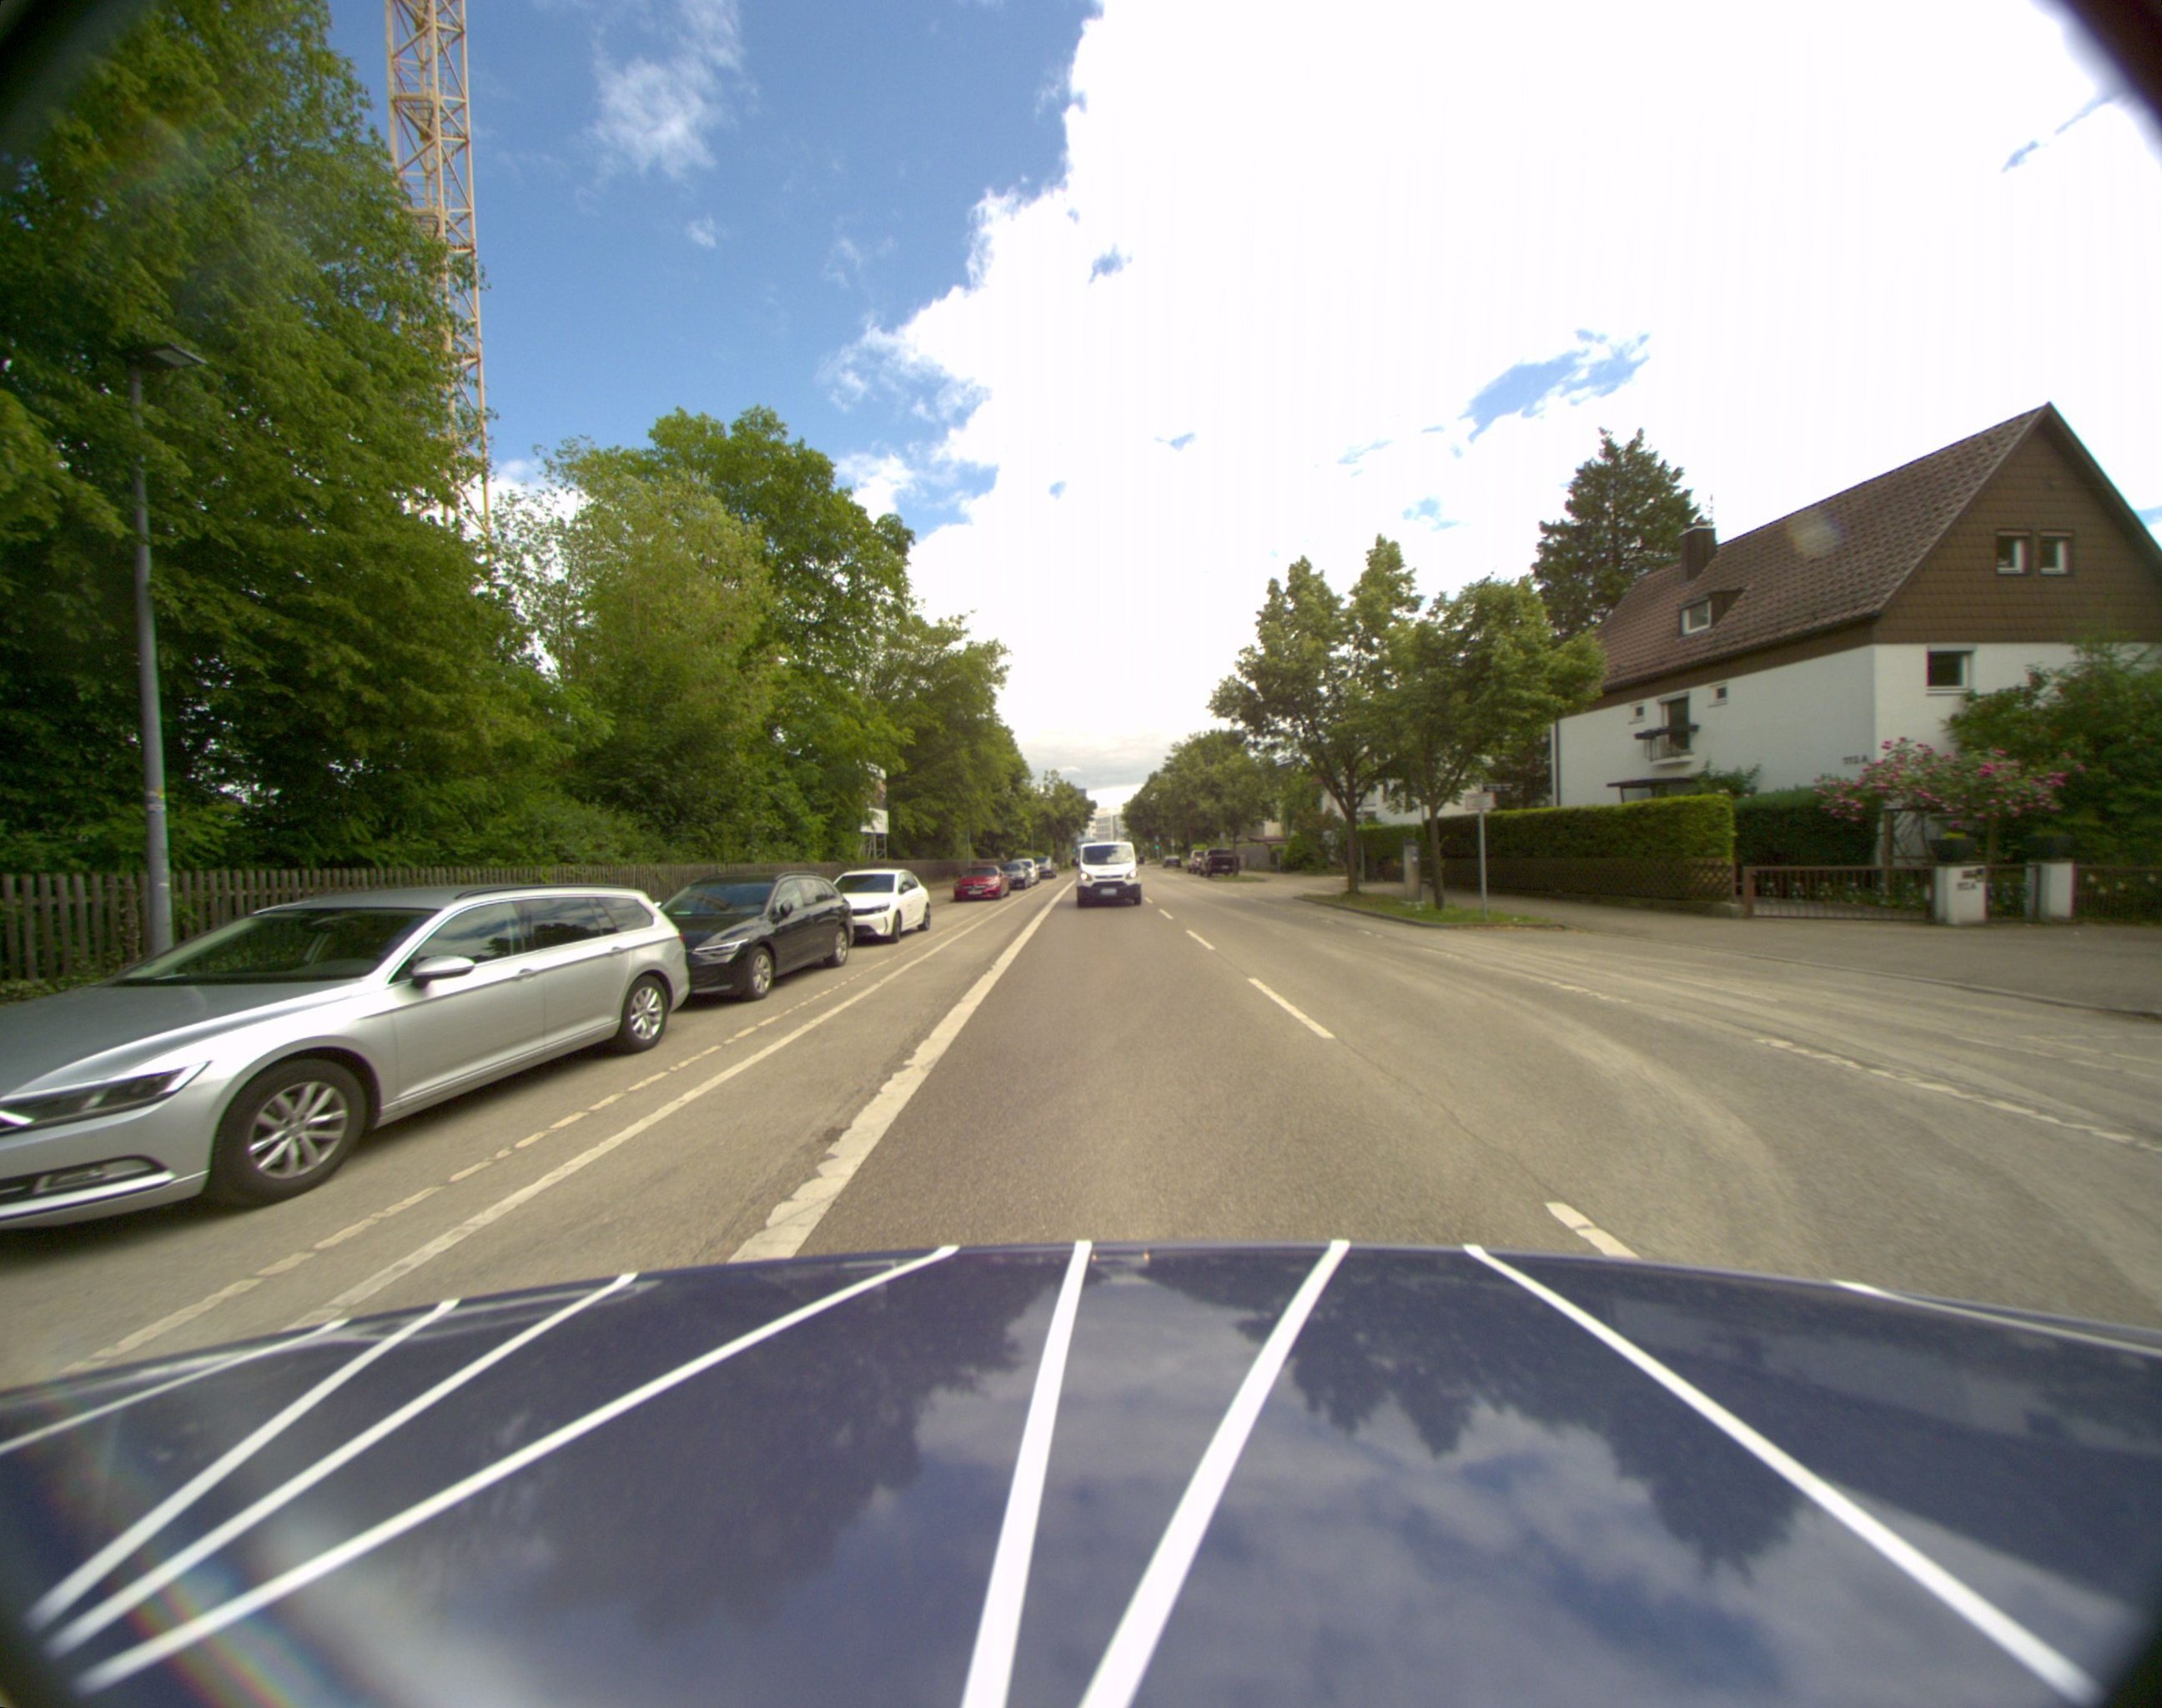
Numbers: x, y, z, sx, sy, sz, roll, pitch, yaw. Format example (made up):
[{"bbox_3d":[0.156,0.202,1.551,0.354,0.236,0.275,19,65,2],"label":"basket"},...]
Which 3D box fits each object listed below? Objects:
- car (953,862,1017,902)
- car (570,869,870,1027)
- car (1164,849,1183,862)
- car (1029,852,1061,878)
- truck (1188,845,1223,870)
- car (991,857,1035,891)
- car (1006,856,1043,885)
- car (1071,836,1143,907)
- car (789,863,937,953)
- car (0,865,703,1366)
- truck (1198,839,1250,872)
[{"bbox_3d":[-3.873,1.087,31.439,1.863,1.405,4.444,-4,0,2],"label":"car"},{"bbox_3d":[-4.432,1.032,10.261,1.706,1.501,4.538,-3,0,2],"label":"car"},{"bbox_3d":[10.582,0.137,87.425,1.750,1.400,4.927,0,1,1],"label":"car"},{"bbox_3d":[-2.720,0.789,58.653,1.998,1.805,4.827,-3,1,2],"label":"car"},{"bbox_3d":[9.528,0.209,58.582,1.971,1.857,5.664,0,1,2],"label":"truck"},{"bbox_3d":[-3.583,1.032,40.837,1.820,1.506,4.679,-3,1,1],"label":"car"},{"bbox_3d":[-3.438,0.959,46.914,1.867,1.580,4.421,-2,0,0],"label":"car"},{"bbox_3d":[0.866,0.472,25.012,1.998,2.002,5.188,-3,1,2],"label":"car"},{"bbox_3d":[-4.383,1.023,15.986,1.772,1.502,4.030,-2,1,2],"label":"car"},{"bbox_3d":[-4.640,0.982,4.959,1.866,1.602,4.686,-3,1,1],"label":"car"},{"bbox_3d":[9.498,0.073,51.055,2.429,2.031,5.995,-2,0,1],"label":"truck"}]
